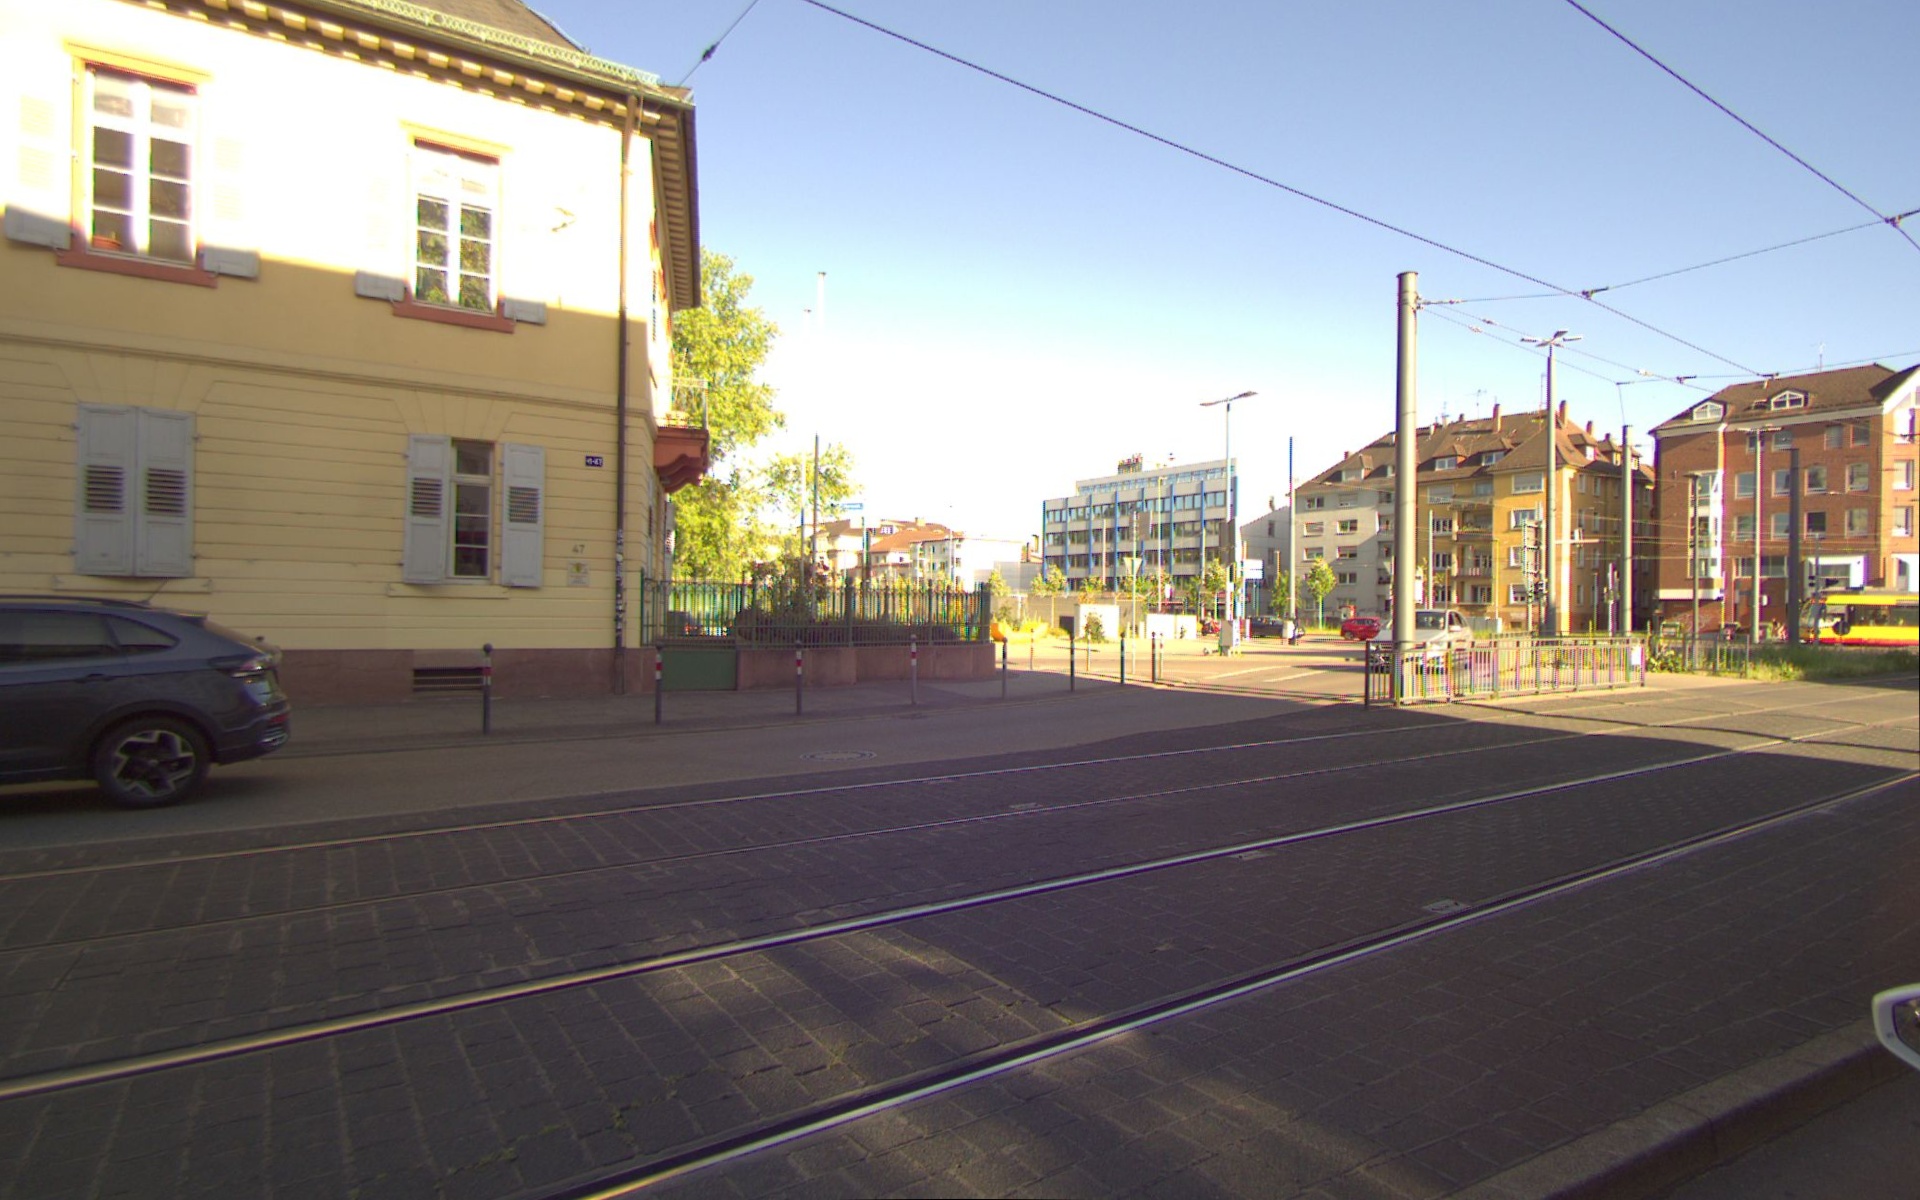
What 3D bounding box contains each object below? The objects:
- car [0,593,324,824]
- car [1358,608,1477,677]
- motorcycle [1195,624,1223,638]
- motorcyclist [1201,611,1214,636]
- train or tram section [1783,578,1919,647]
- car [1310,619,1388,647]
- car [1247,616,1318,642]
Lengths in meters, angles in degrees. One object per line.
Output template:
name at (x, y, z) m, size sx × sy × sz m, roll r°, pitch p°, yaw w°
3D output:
car at (-7.152, 0.715, 7.207) m, size 4.241 × 1.532 × 1.751 m, roll 1°, pitch 0°, yaw -38°
car at (11.506, 1.004, 25.123) m, size 1.760 × 1.589 × 4.274 m, roll -1°, pitch -1°, yaw 38°
motorcycle at (17.702, 2.188, 71.317) m, size 0.556 × 0.905 × 1.982 m, roll 1°, pitch 2°, yaw -38°
motorcyclist at (17.624, 1.669, 71.426) m, size 0.385 × 1.731 × 0.775 m, roll 1°, pitch 2°, yaw -38°
train or tram section at (57.018, 0.868, 58.694) m, size 13.905 × 3.765 × 2.684 m, roll 2°, pitch 1°, yaw 13°
car at (24.158, 2.010, 62.532) m, size 1.923 × 1.510 × 4.111 m, roll 1°, pitch 1°, yaw -40°
car at (21.514, 1.900, 67.109) m, size 1.923 × 1.510 × 4.111 m, roll 1°, pitch 1°, yaw -40°
